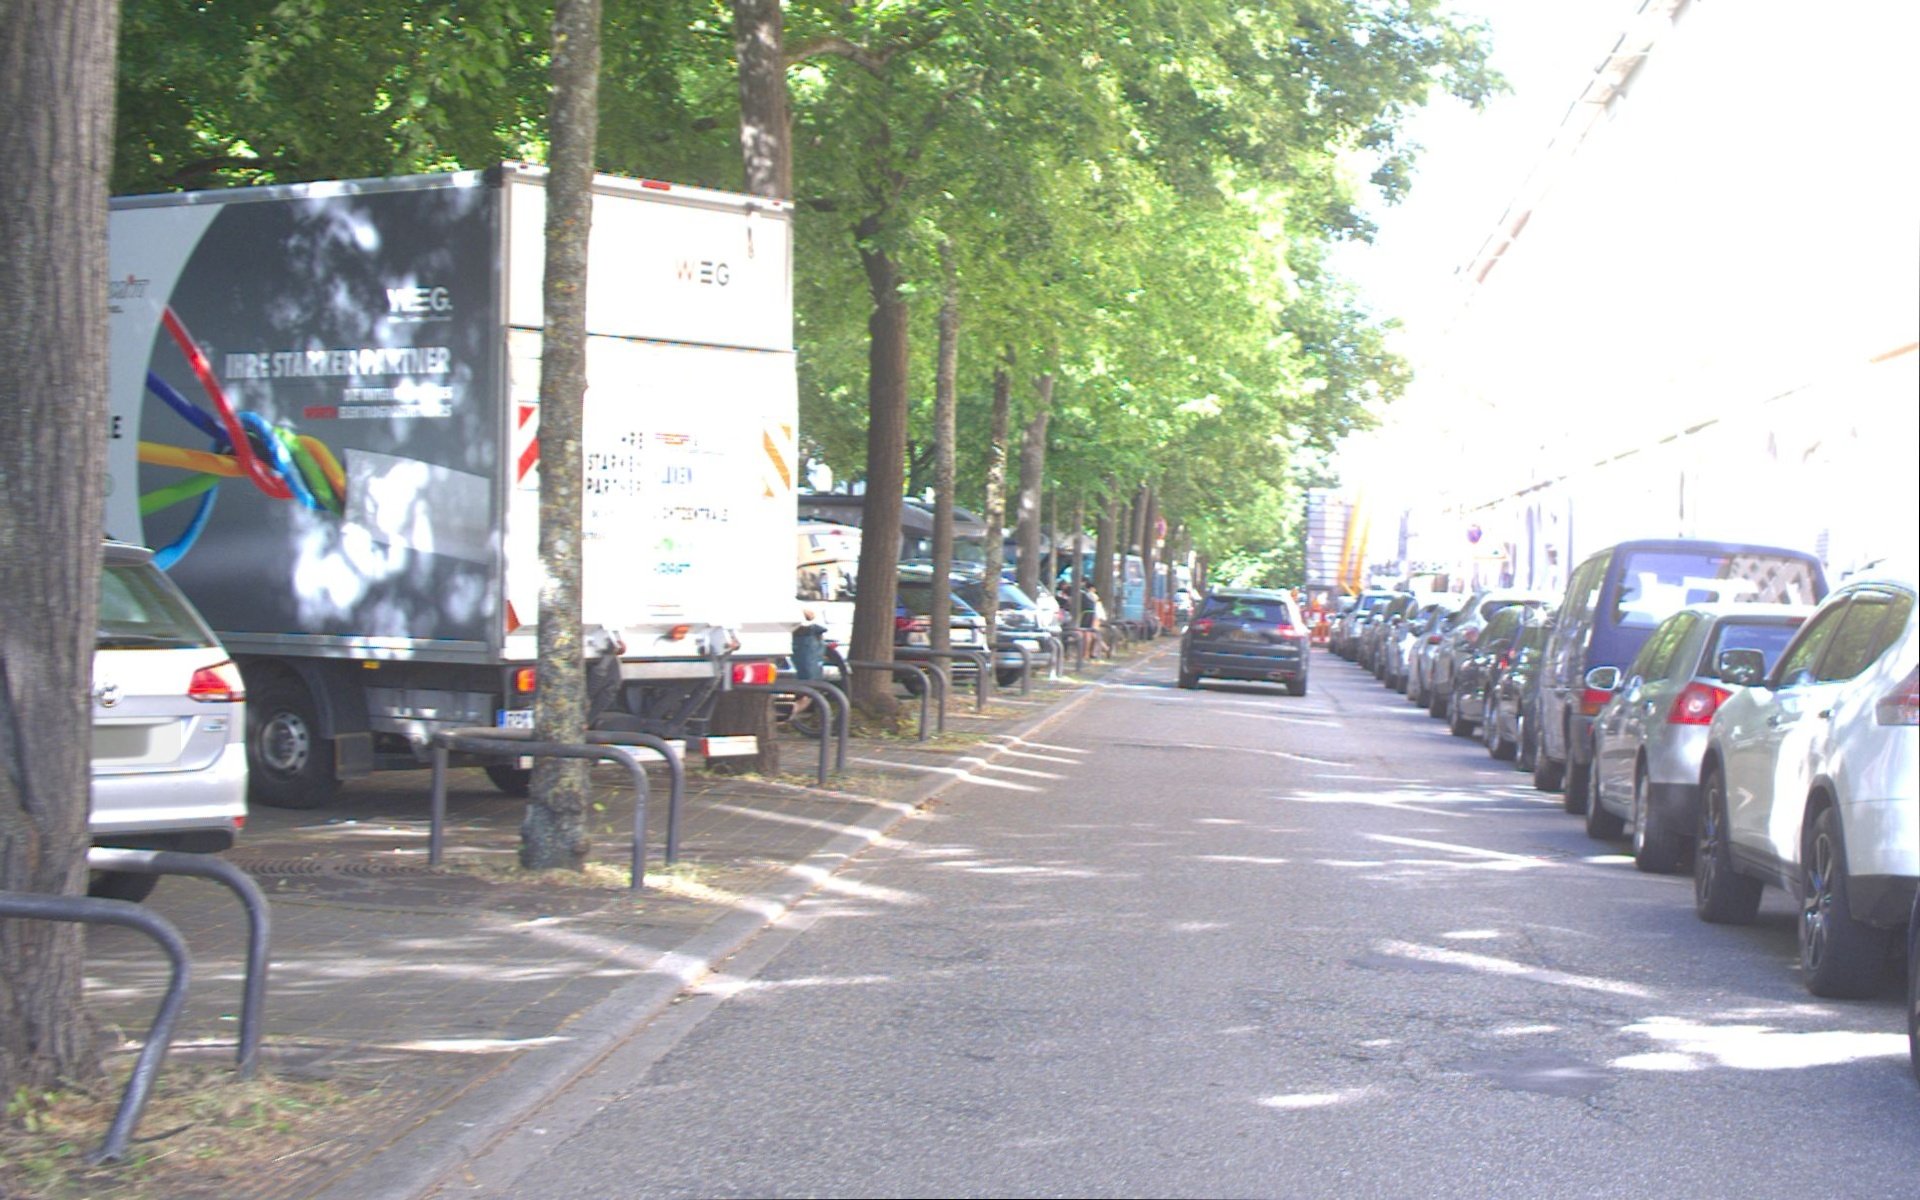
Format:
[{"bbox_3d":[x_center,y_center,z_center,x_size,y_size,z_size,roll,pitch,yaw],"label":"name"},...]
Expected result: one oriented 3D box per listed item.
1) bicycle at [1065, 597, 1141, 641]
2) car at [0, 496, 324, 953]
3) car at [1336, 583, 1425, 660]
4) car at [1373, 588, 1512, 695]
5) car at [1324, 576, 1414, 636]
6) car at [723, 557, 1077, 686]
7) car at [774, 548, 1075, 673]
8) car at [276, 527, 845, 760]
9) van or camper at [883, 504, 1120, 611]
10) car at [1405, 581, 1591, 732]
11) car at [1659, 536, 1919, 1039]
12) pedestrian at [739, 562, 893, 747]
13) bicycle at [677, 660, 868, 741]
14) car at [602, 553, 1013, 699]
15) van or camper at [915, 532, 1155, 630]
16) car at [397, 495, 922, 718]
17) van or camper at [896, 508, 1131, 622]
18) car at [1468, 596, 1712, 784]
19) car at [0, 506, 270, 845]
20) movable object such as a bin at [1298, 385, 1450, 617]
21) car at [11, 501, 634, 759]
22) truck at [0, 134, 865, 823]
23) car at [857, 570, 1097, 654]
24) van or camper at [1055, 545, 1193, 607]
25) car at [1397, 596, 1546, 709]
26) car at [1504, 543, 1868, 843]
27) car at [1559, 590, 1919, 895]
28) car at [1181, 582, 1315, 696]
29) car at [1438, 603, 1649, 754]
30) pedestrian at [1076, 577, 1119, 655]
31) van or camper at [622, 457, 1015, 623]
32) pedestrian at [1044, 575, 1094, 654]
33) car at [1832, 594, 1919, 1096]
[{"bbox_3d":[3.395,0.447,81.432,1.719,1.002,0.512,2,0,-25],"label":"bicycle"},{"bbox_3d":[-4.558,0.339,12.972,4.339,1.502,1.809,3,1,39],"label":"car"},{"bbox_3d":[9.702,0.471,79.517,1.817,1.668,4.672,2,1,5],"label":"car"},{"bbox_3d":[7.511,0.614,53.857,1.722,1.523,4.158,2,1,3],"label":"car"},{"bbox_3d":[10.513,0.142,88.540,1.994,1.404,4.500,3,1,4],"label":"car"},{"bbox_3d":[-0.810,0.263,44.538,4.419,1.457,1.712,3,0,37],"label":"car"},{"bbox_3d":[-0.547,0.147,51.022,4.142,1.673,1.756,2,1,34],"label":"car"},{"bbox_3d":[-3.040,0.293,25.758,4.104,1.501,1.729,3,1,36],"label":"car"},{"bbox_3d":[1.055,-1.117,89.602,5.879,2.628,2.250,2,1,34],"label":"van or camper"},{"bbox_3d":[6.539,0.641,42.136,1.722,1.680,4.158,2,1,2],"label":"car"},{"bbox_3d":[4.144,0.660,14.186,1.762,1.747,4.509,2,1,3],"label":"car"},{"bbox_3d":[-1.125,0.420,26.925,0.752,1.392,0.927,2,1,36],"label":"pedestrian"},{"bbox_3d":[-1.501,0.790,27.352,1.612,0.556,0.408,2,1,36],"label":"bicycle"},{"bbox_3d":[-1.764,0.272,38.853,4.485,1.450,1.784,2,1,37],"label":"car"},{"bbox_3d":[1.853,-0.475,85.266,5.507,2.268,2.217,2,1,29],"label":"van or camper"},{"bbox_3d":[-2.863,0.038,32.584,4.517,1.858,2.077,3,1,30],"label":"car"},{"bbox_3d":[1.574,-1.068,102.714,6.669,3.230,2.490,2,1,33],"label":"van or camper"},{"bbox_3d":[5.564,0.754,30.732,1.621,1.493,3.595,2,1,3],"label":"car"},{"bbox_3d":[-5.562,0.265,17.003,4.339,1.502,1.809,3,1,39],"label":"car"},{"bbox_3d":[12.332,-2.962,102.395,3.486,6.736,2.363,3,0,37],"label":"movable object such as a bin"},{"bbox_3d":[-4.337,0.170,23.165,3.996,1.497,1.844,3,1,36],"label":"car"},{"bbox_3d":[-4.248,-0.672,19.573,7.317,3.282,2.541,2,1,36],"label":"truck"},{"bbox_3d":[0.305,0.225,65.781,4.323,1.419,1.672,2,1,32],"label":"car"},{"bbox_3d":[6.851,-1.007,143.942,5.344,2.466,2.289,2,1,37],"label":"van or camper"},{"bbox_3d":[7.108,0.698,48.043,1.722,1.427,4.157,2,1,4],"label":"car"},{"bbox_3d":[5.135,0.590,24.958,1.949,1.894,4.844,2,1,5],"label":"car"},{"bbox_3d":[4.581,0.732,19.794,1.762,1.495,4.237,2,1,4],"label":"car"},{"bbox_3d":[4.071,0.521,49.034,1.797,1.498,3.585,2,1,4],"label":"car"},{"bbox_3d":[6.005,0.771,35.747,1.549,1.389,3.861,2,1,1],"label":"car"},{"bbox_3d":[2.593,0.296,64.836,0.615,1.451,0.519,2,0,28],"label":"pedestrian"},{"bbox_3d":[-2.701,-1.140,64.236,7.239,2.920,2.310,2,1,32],"label":"van or camper"},{"bbox_3d":[2.038,0.262,64.320,0.710,1.451,0.595,2,0,28],"label":"pedestrian"},{"bbox_3d":[3.721,0.764,8.829,1.802,1.458,4.440,2,1,0],"label":"car"}]
